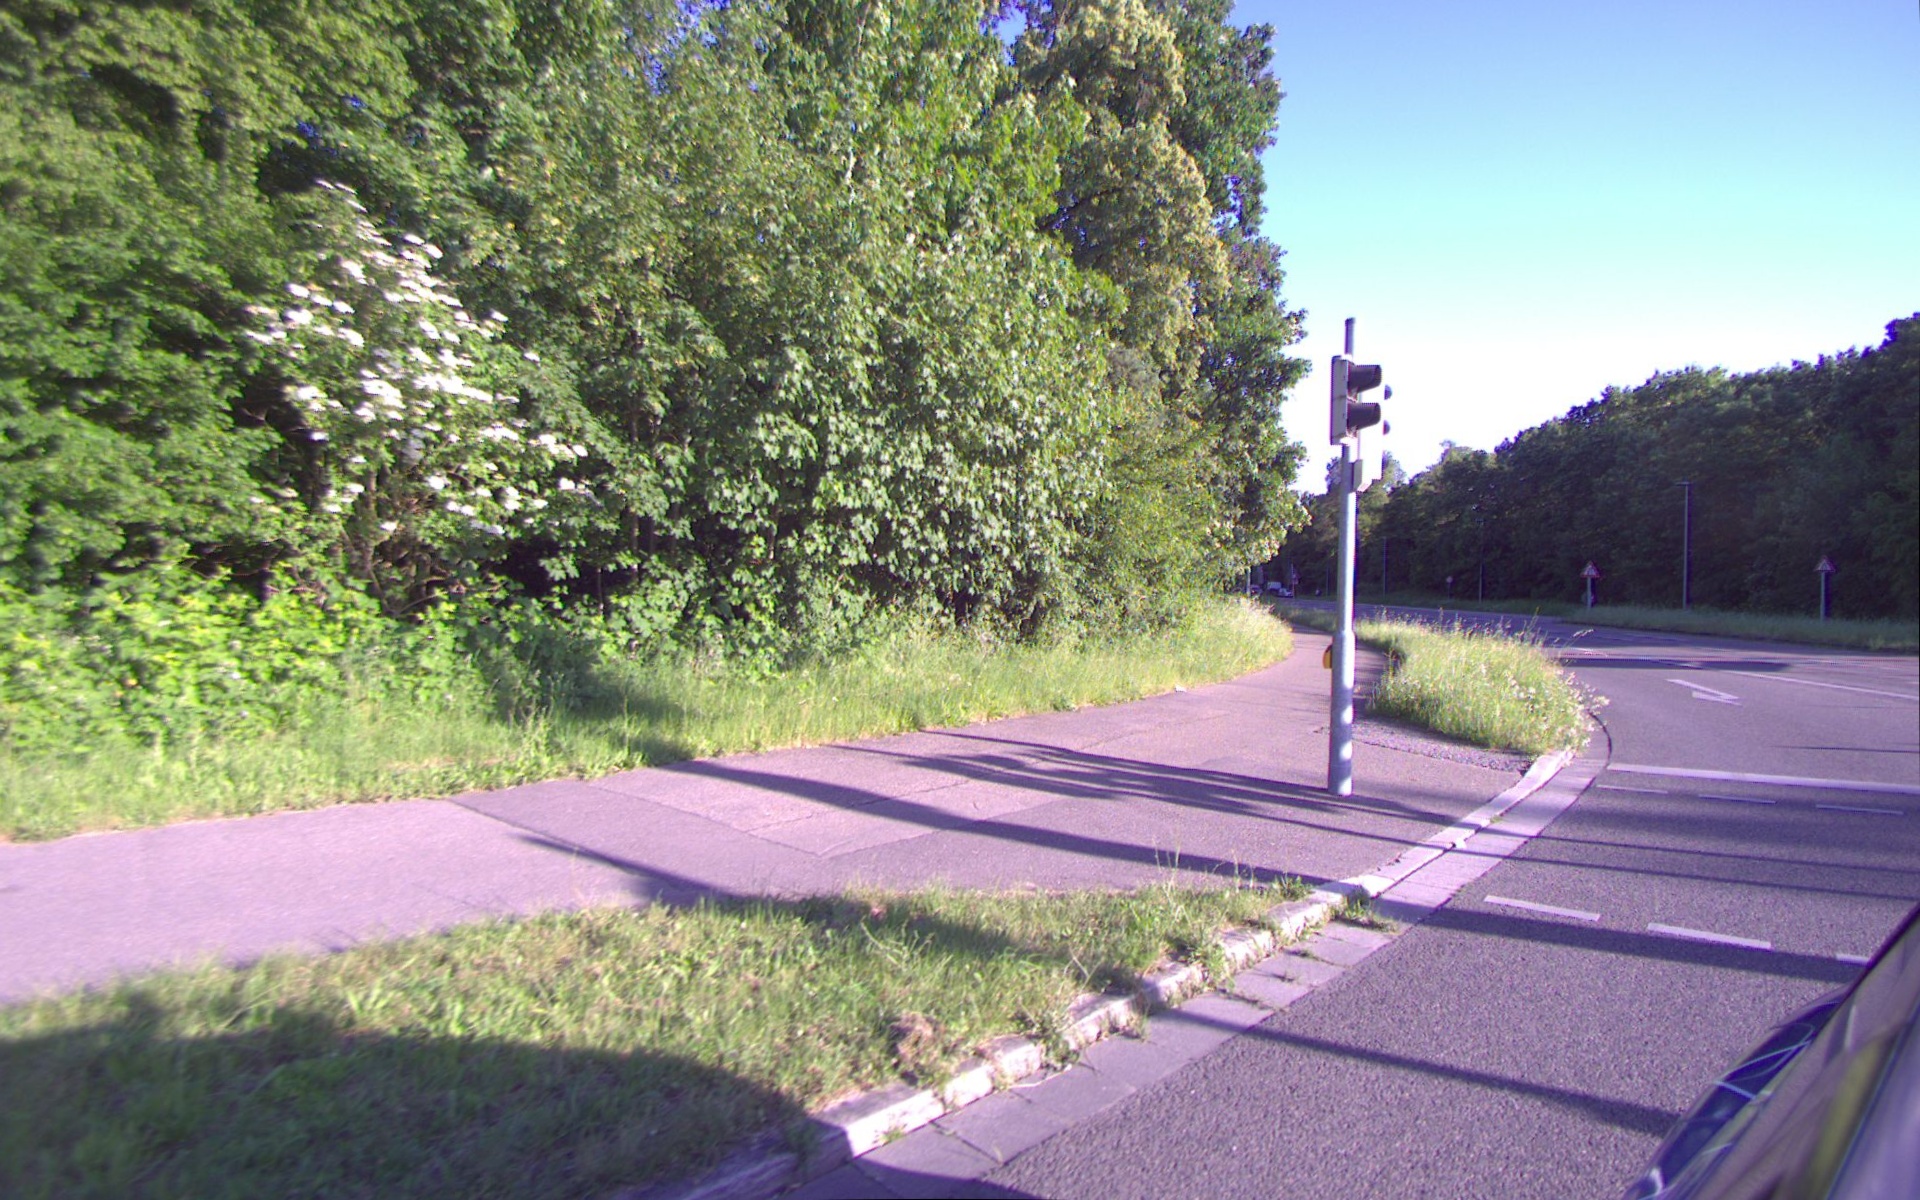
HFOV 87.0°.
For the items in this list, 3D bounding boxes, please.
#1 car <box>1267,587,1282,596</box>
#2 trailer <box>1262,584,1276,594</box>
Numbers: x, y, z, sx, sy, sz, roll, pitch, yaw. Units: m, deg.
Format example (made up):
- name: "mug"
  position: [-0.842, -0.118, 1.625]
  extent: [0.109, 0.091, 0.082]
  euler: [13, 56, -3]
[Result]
- name: "car"
  position: [54.164, -1.495, 174.361]
  extent: [1.884, 1.482, 4.003]
  euler: [2, 2, 9]
- name: "trailer"
  position: [54.868, -1.934, 179.925]
  extent: [1.778, 1.751, 3.639]
  euler: [2, 2, 9]
